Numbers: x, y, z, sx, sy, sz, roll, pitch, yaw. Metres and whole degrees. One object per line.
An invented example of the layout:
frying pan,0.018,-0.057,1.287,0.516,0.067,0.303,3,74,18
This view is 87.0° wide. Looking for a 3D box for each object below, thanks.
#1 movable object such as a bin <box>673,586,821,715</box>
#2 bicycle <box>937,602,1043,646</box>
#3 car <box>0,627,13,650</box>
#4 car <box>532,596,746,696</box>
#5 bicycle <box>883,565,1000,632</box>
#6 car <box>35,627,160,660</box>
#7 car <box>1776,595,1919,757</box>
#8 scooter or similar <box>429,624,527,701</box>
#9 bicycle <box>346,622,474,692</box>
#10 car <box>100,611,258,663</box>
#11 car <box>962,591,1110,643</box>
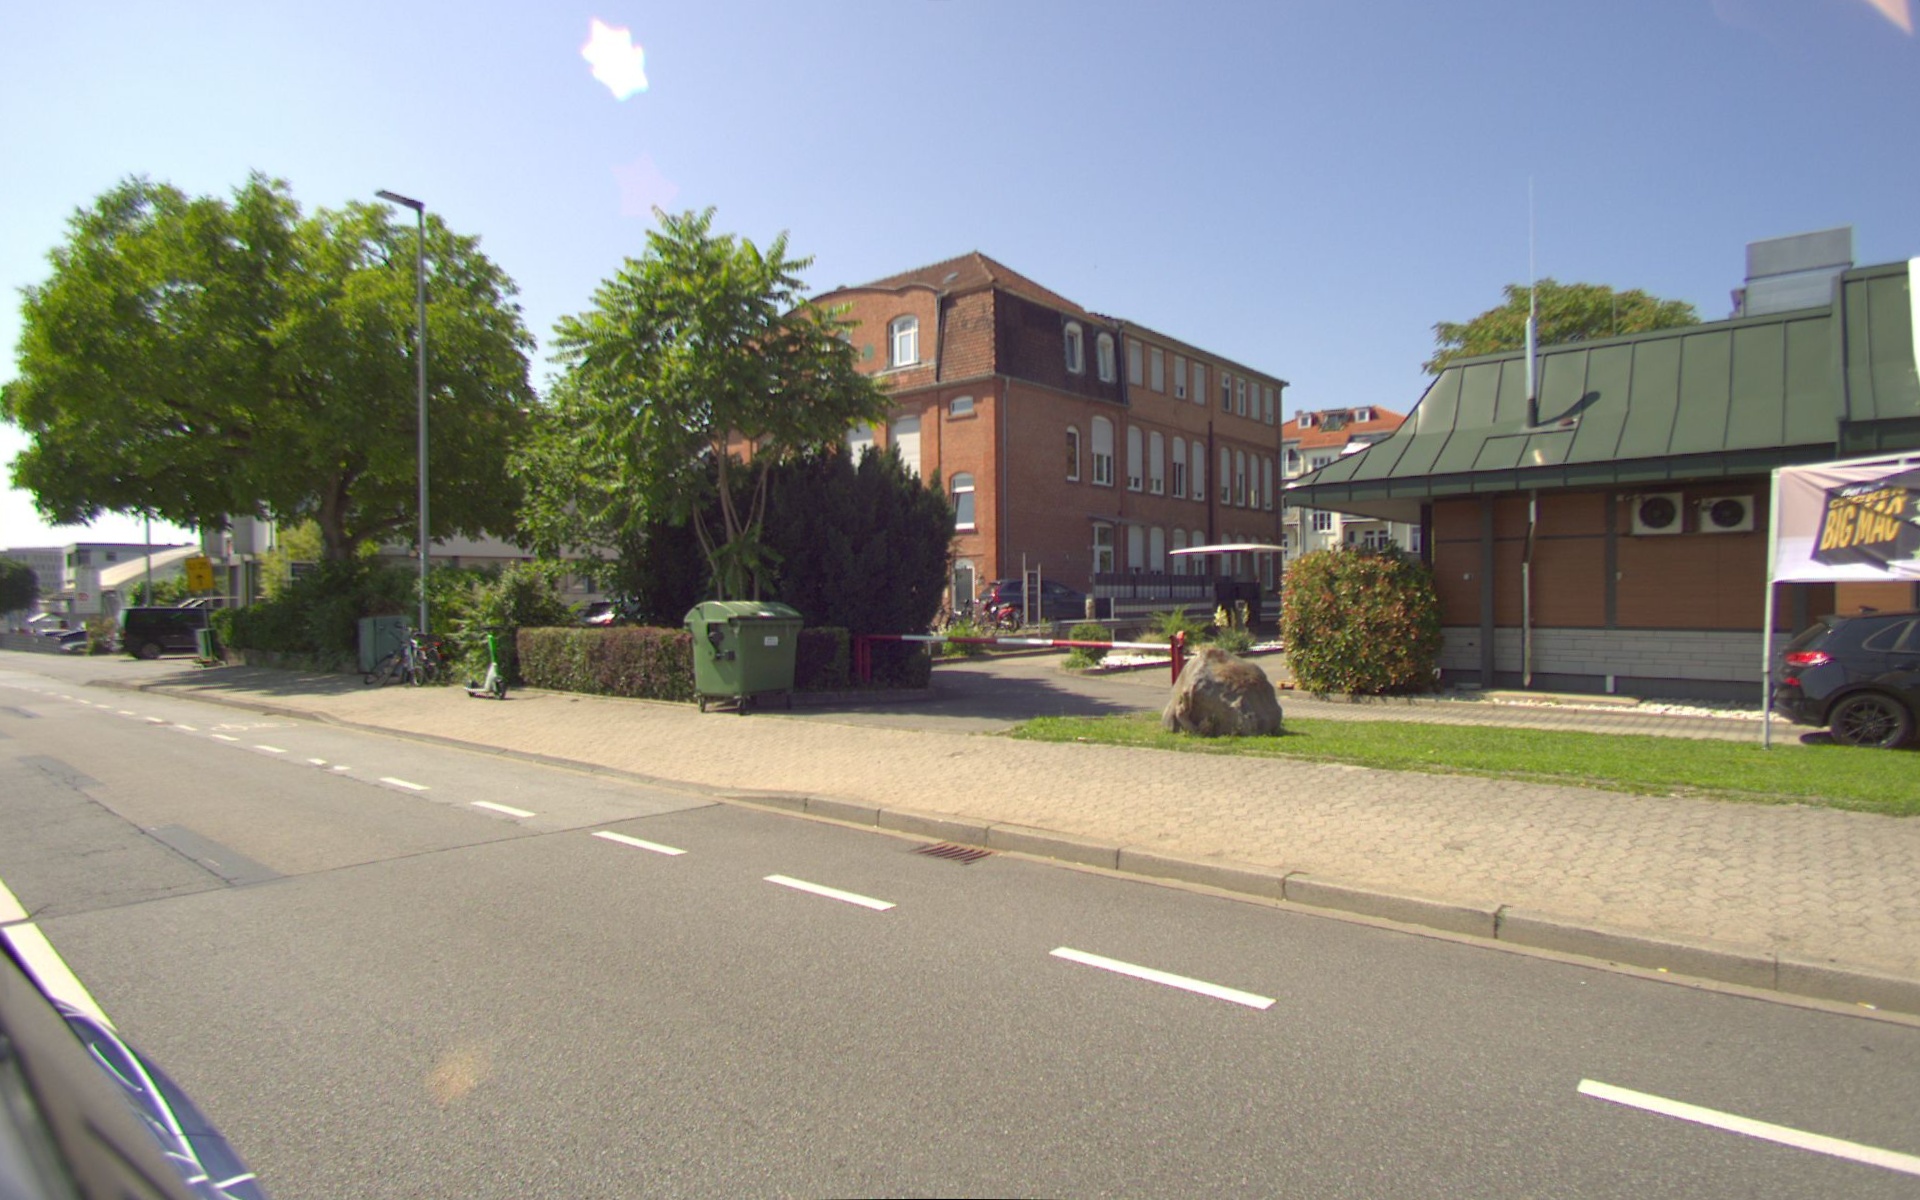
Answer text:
movable object such as a bin,-2.834,0.647,13.549,1.303,1.602,1.437,-2,-1,32
bicycle,0.876,0.735,31.012,3.439,1.296,0.872,-1,-1,40
car,-76.369,3.079,78.214,1.836,1.709,4.573,-2,0,5
car,-6.497,0.968,20.712,1.787,1.855,3.722,-1,-4,44
bicycle,-0.595,-0.015,29.444,3.758,1.837,0.878,-1,-1,40
car,-44.763,2.216,52.614,2.046,1.492,4.692,-2,-1,39
car,10.713,0.711,9.802,4.315,1.487,1.810,-2,2,39
scooter or similar,-7.825,0.999,16.411,1.619,1.136,0.641,-2,2,35
bicycle,-10.309,1.036,18.923,2.762,1.126,1.017,-2,3,38
car,-29.946,1.376,38.898,2.092,1.879,4.518,-2,-2,41
car,2.520,0.554,33.930,4.402,1.645,2.162,0,-1,-17
